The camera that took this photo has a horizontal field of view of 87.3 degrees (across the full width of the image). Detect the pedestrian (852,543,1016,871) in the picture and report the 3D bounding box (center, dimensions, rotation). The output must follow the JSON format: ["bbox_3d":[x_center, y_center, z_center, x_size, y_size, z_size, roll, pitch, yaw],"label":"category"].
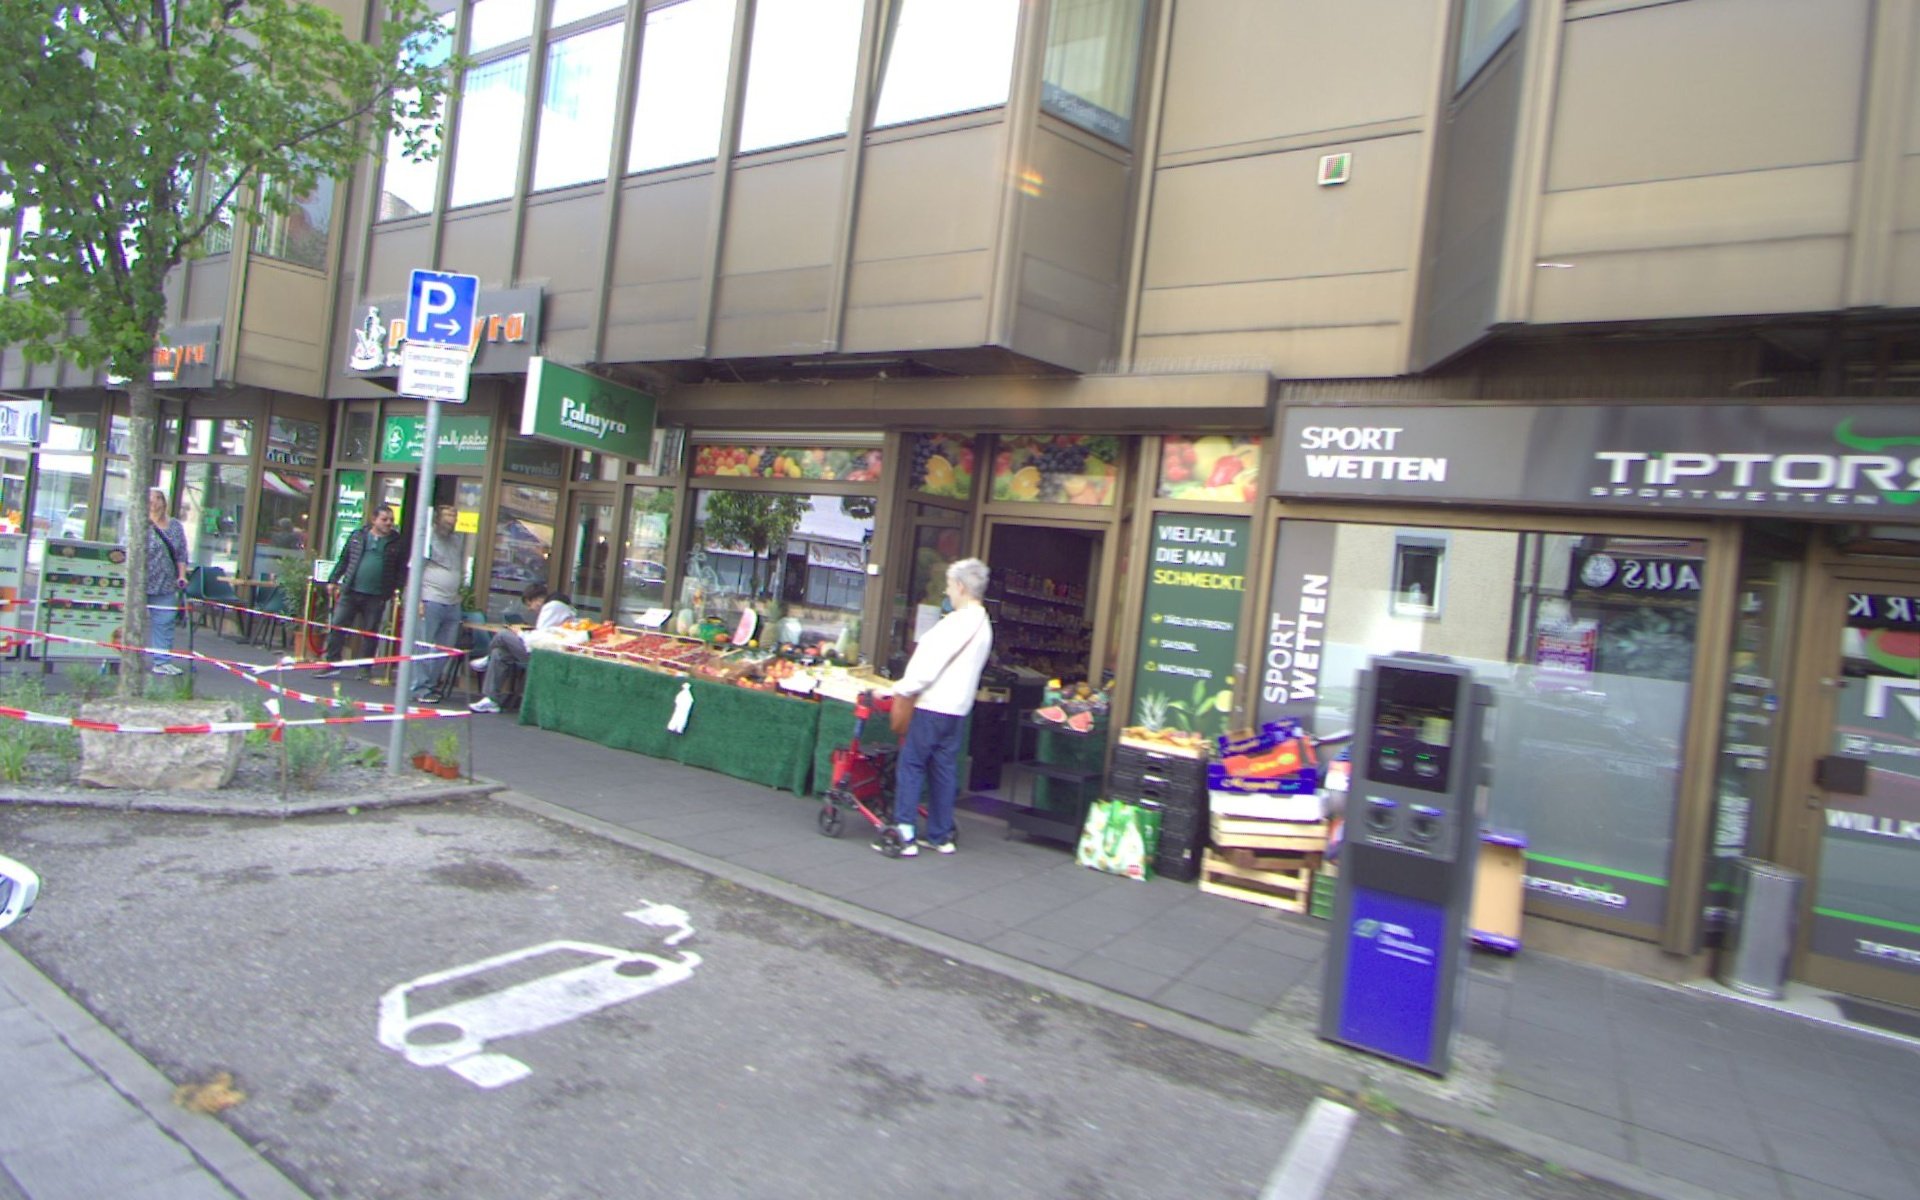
[{"bbox_3d":[-0.126,0.602,5.873,0.635,1.726,0.659,7,-1,9],"label":"pedestrian"}]

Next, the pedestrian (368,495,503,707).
[{"bbox_3d":[-4.849,0.009,9.305,0.700,1.838,0.737,7,2,32],"label":"pedestrian"}]

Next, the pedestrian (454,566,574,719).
[{"bbox_3d":[-4.011,0.387,9.054,0.603,1.268,0.622,6,-2,34],"label":"pedestrian"}]

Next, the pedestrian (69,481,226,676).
[{"bbox_3d":[-7.298,-0.184,9.048,0.787,1.636,0.785,7,1,32],"label":"pedestrian"}]

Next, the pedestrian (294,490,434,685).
[{"bbox_3d":[-6.017,-0.109,10.180,0.643,1.834,0.811,7,-2,32],"label":"pedestrian"}]

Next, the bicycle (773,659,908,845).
[{"bbox_3d":[-0.702,0.885,6.063,0.548,0.990,0.604,7,-2,8],"label":"bicycle"}]
